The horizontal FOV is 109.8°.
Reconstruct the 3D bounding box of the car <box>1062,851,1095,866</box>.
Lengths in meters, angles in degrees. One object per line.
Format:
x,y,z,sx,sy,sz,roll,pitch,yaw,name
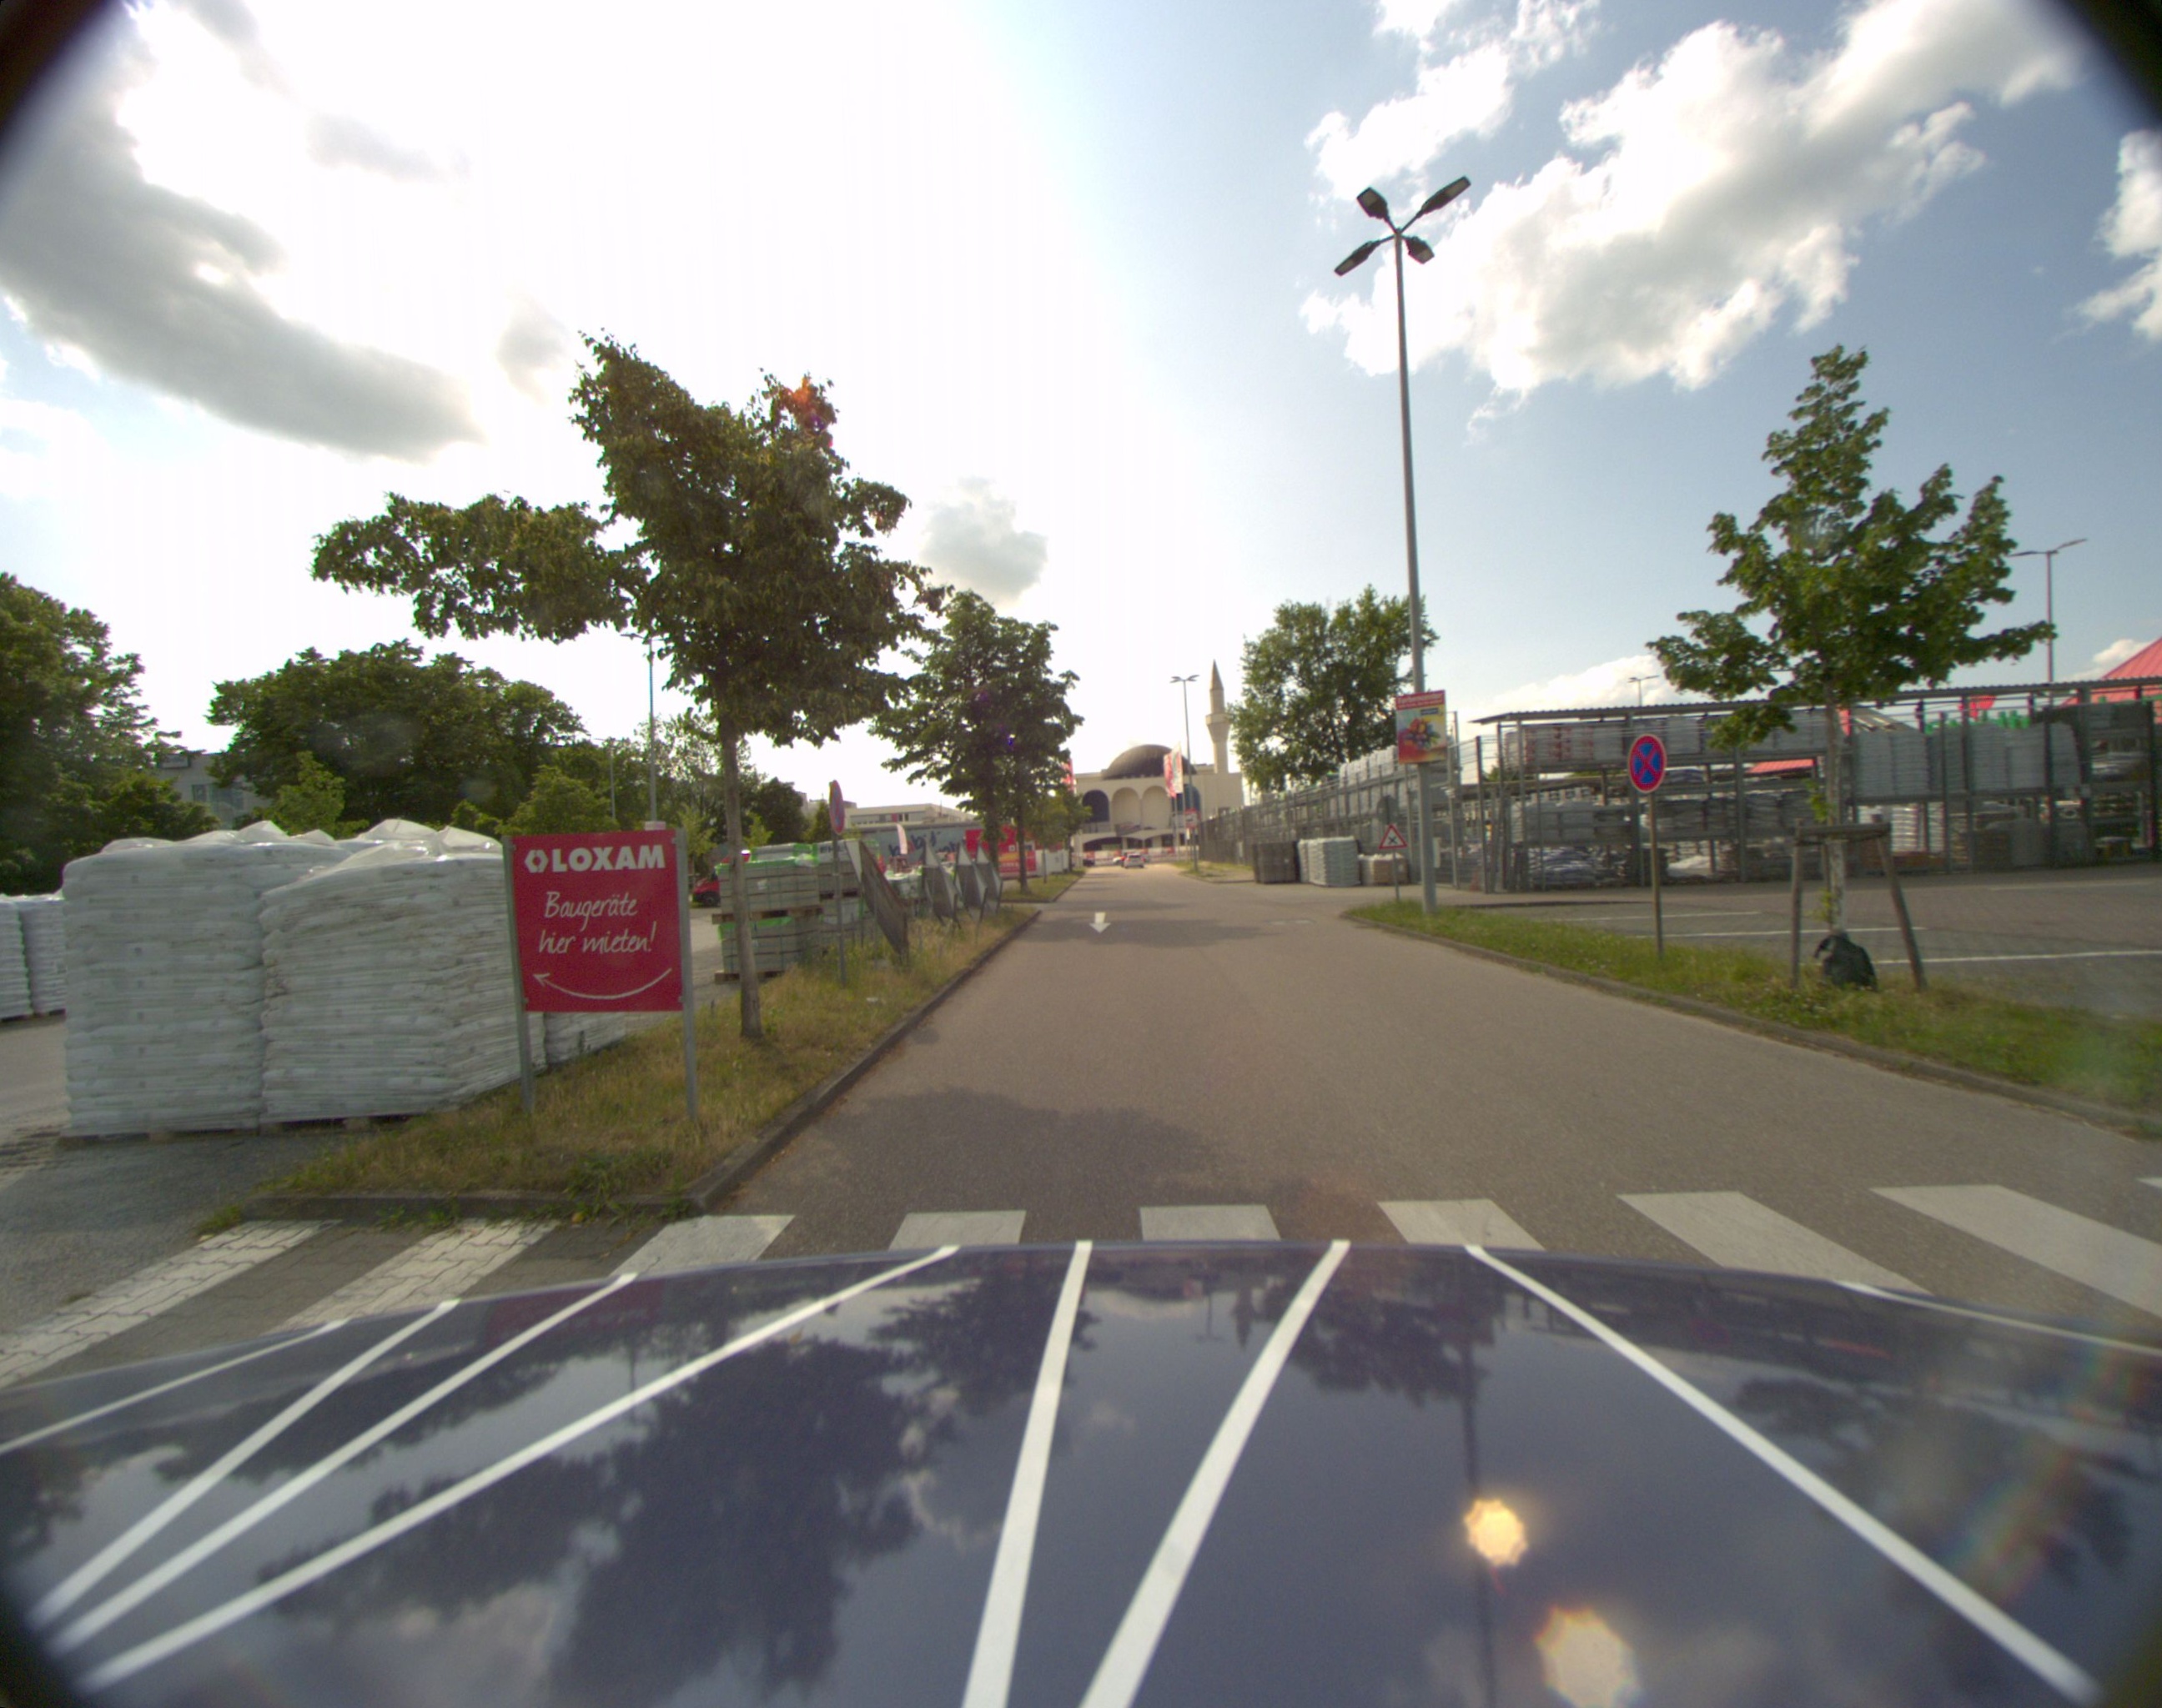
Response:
-0.304,0.514,92.499,3.997,1.636,1.907,-3,1,0,car

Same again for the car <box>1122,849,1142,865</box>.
5.471,0.277,82.245,1.920,1.608,4.374,-3,0,1,car

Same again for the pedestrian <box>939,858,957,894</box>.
-6.417,1.060,36.769,0.600,1.682,0.879,-3,2,4,pedestrian

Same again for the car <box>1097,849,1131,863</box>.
4.161,0.285,96.296,4.189,1.501,1.792,-3,1,3,car

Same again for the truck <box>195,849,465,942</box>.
-33.362,1.628,34.559,2.727,3.577,9.039,-3,0,4,truck

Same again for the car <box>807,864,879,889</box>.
-15.412,1.441,49.377,4.144,1.406,1.617,-3,1,-3,car

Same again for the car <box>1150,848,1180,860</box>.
10.572,0.014,95.848,3.706,1.359,1.651,-3,0,4,car

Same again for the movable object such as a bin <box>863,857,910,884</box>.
-14.305,1.212,55.962,3.010,1.833,1.389,-3,0,2,movable object such as a bin

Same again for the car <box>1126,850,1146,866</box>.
5.412,0.360,75.049,1.808,1.456,4.329,-3,0,3,car

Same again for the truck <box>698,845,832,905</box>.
-15.069,0.981,36.454,5.441,2.500,2.116,-3,0,-1,truck

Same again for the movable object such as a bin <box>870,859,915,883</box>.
-14.371,1.271,57.964,3.010,1.660,1.389,-3,0,2,movable object such as a bin
